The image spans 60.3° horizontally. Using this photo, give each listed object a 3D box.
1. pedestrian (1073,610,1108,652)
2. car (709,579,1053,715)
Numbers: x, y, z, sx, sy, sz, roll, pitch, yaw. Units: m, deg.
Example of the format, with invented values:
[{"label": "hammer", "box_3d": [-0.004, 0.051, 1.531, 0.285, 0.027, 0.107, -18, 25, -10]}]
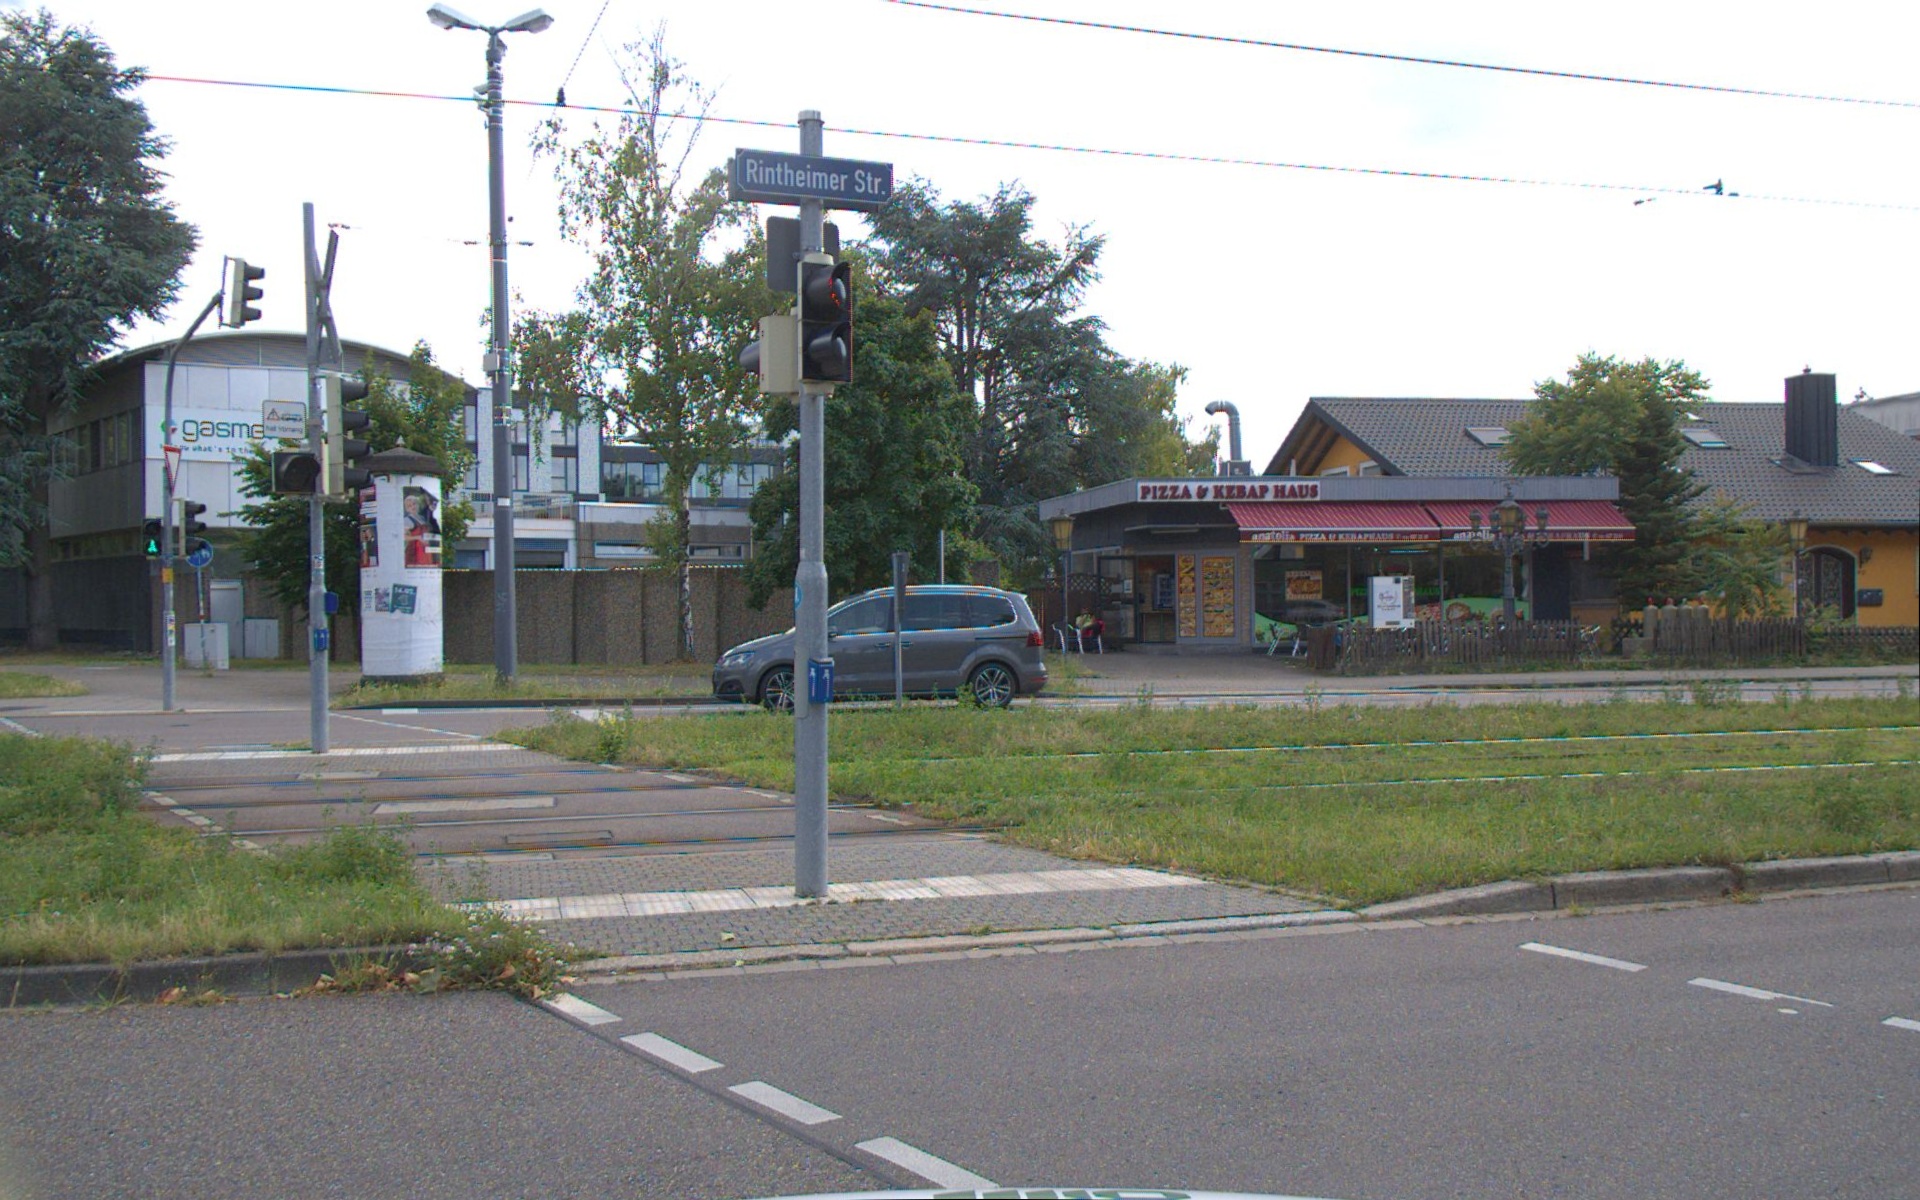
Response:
[{"label": "pedestrian", "box_3d": [3.085, 0.725, 39.212, 0.711, 0.945, 0.776, 0, 1, -6]}, {"label": "car", "box_3d": [-1.179, 0.618, 23.395, 4.639, 1.752, 1.995, -1, 0, -10]}]
